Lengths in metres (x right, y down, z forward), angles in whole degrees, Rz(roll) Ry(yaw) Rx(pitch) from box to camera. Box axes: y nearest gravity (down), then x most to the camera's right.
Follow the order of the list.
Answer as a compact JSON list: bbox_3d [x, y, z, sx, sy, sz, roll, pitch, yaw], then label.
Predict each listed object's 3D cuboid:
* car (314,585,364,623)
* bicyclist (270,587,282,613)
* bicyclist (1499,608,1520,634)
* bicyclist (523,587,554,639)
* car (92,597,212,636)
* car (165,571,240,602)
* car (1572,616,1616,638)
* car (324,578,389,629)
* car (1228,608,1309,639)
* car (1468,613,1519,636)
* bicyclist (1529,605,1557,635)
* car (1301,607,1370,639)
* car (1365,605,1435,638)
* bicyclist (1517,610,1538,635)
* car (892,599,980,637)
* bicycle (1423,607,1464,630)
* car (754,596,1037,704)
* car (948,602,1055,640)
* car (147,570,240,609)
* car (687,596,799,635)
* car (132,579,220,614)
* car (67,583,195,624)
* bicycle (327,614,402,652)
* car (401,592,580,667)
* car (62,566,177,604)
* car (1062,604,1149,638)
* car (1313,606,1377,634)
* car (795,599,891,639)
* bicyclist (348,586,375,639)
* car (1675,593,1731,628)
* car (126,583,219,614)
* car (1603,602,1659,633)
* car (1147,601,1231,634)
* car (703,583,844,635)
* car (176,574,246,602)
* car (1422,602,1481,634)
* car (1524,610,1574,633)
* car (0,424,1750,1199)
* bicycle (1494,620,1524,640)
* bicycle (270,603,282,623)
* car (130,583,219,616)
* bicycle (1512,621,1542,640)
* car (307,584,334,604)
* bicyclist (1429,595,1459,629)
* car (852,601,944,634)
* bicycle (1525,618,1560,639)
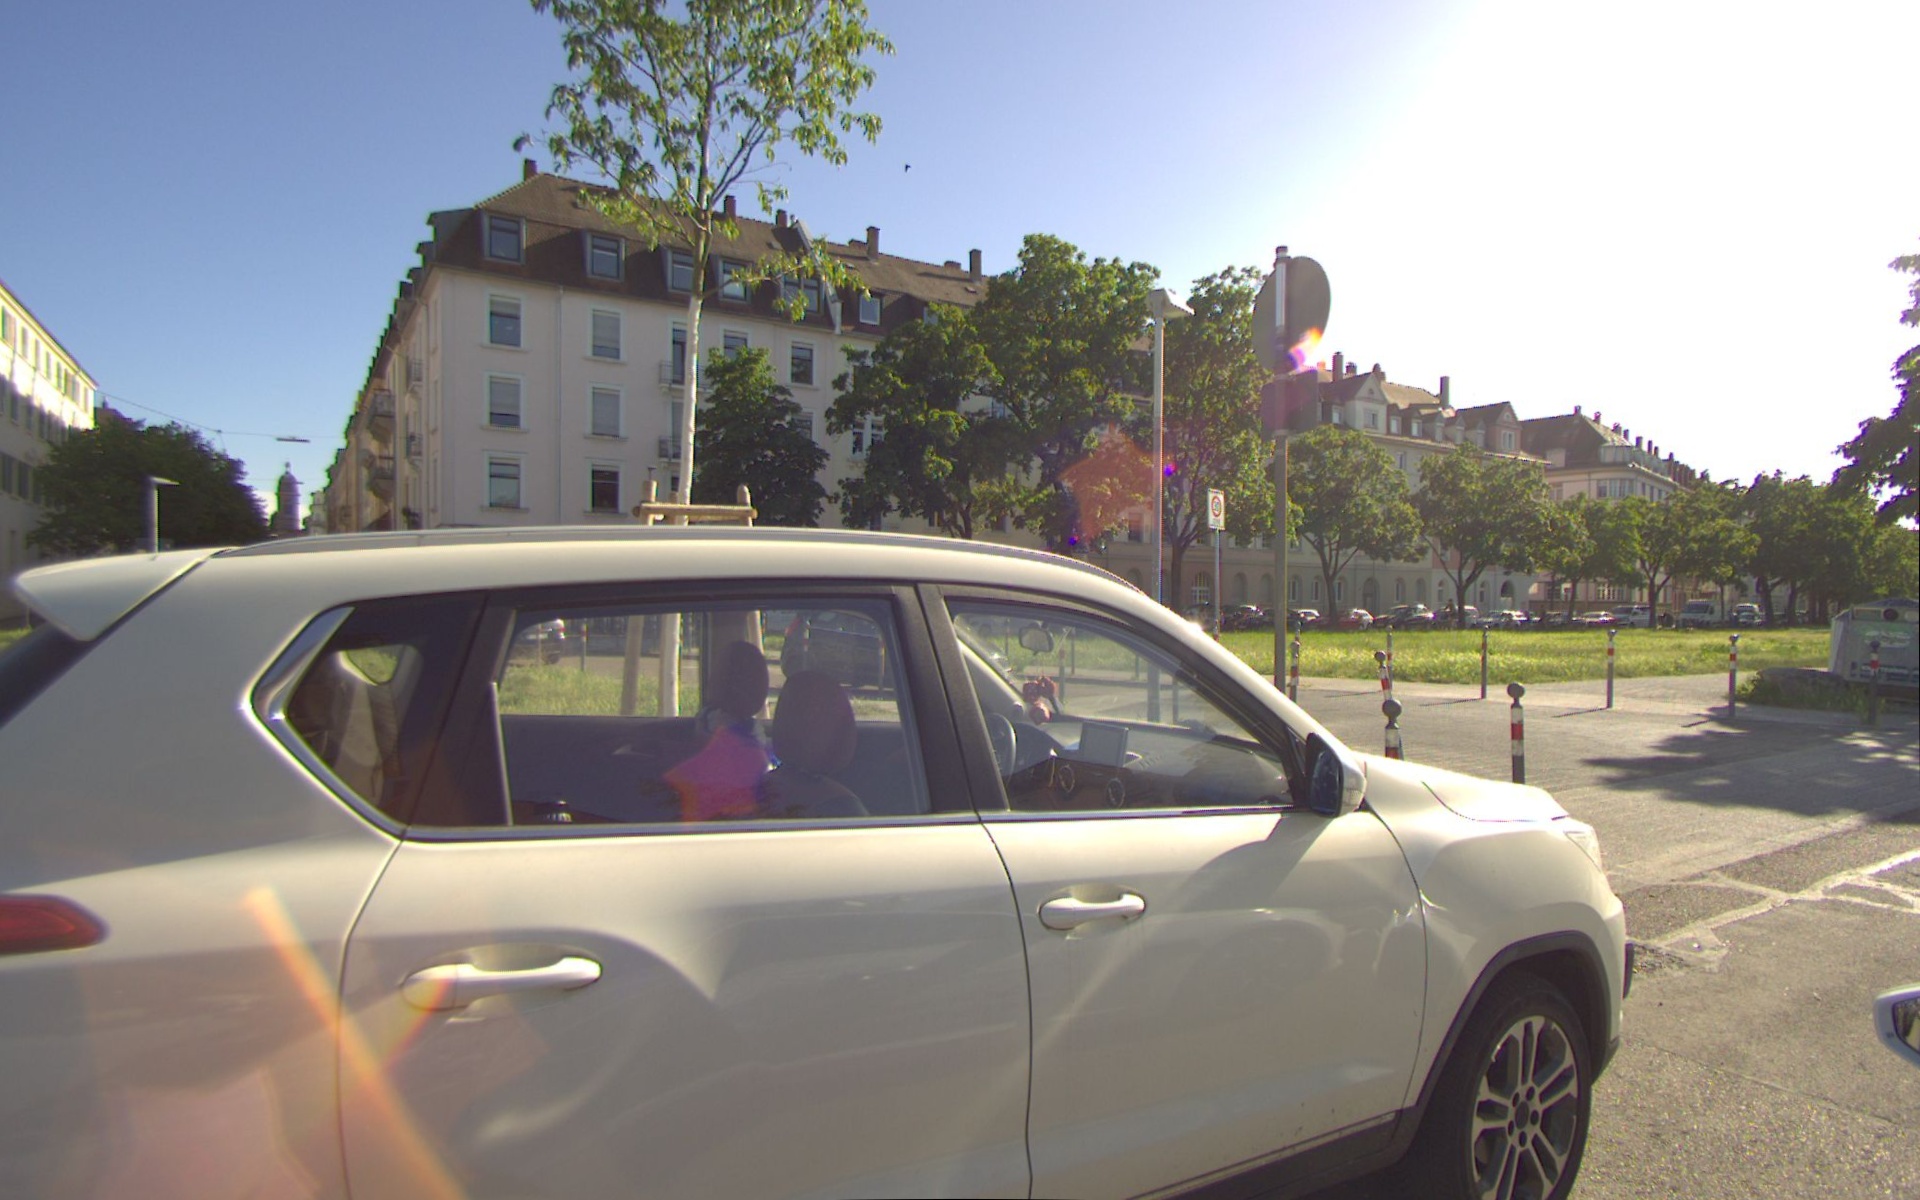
[{"bbox_3d":[-33.993,0.189,54.914,1.981,2.000,5.002,0,1,-36],"label":"car"},{"bbox_3d":[-36.738,-0.017,53.933,0.528,1.382,0.778,0,1,-34],"label":"bicyclist"},{"bbox_3d":[32.563,1.245,59.511,0.932,1.457,0.734,-1,3,-32],"label":"bicyclist"},{"bbox_3d":[-14.008,0.430,33.376,0.619,1.713,0.879,0,0,2],"label":"bicyclist"},{"bbox_3d":[-32.938,0.667,41.088,3.627,1.541,1.698,1,0,-33],"label":"car"},{"bbox_3d":[-62.964,-1.108,83.644,4.907,2.427,1.937,1,0,-36],"label":"car"},{"bbox_3d":[45.248,1.920,71.637,3.198,1.459,1.508,1,0,-34],"label":"car"},{"bbox_3d":[-25.352,0.121,42.115,2.118,2.040,4.533,0,0,-34],"label":"car"},{"bbox_3d":[16.550,1.222,53.868,4.481,1.570,1.745,1,0,-34],"label":"car"},{"bbox_3d":[34.625,1.577,65.196,3.302,1.459,1.373,1,0,-31],"label":"car"},{"bbox_3d":[36.180,1.233,62.322,1.434,1.862,0.936,1,-1,-33],"label":"bicyclist"},{"bbox_3d":[21.221,1.278,56.752,4.038,1.709,1.621,1,0,-34],"label":"car"},{"bbox_3d":[26.270,1.265,59.957,4.414,1.933,1.725,1,0,-34],"label":"car"},{"bbox_3d":[33.077,1.323,58.530,0.932,1.456,0.734,1,-1,-32],"label":"bicyclist"},{"bbox_3d":[-1.170,0.867,49.446,3.956,1.781,1.852,1,0,-33],"label":"car"},{"bbox_3d":[27.353,1.069,56.757,2.605,1.269,0.806,1,0,-32],"label":"bicycle"},{"bbox_3d":[-1.086,0.692,16.046,4.276,1.428,1.914,1,2,35],"label":"car"},{"bbox_3d":[1.867,0.917,44.540,4.649,1.582,1.683,1,0,-34],"label":"car"},{"bbox_3d":[-51.416,-0.674,67.504,4.907,2.553,1.937,1,0,-36],"label":"car"},{"bbox_3d":[-9.489,0.657,44.027,4.408,1.608,1.980,1,0,-35],"label":"car"},{"bbox_3d":[-42.592,-0.167,54.667,3.676,1.859,1.937,1,0,-36],"label":"car"},{"bbox_3d":[-36.737,0.157,44.657,4.198,1.724,1.690,1,0,-34],"label":"car"},{"bbox_3d":[-20.680,1.128,34.915,2.233,1.279,0.837,1,1,-32],"label":"bicycle"},{"bbox_3d":[-10.957,0.629,23.368,4.276,1.597,1.923,0,0,35],"label":"car"},{"bbox_3d":[-35.641,-0.619,42.708,3.580,1.541,1.691,1,0,-36],"label":"car"},{"bbox_3d":[6.925,0.970,47.766,4.038,1.547,1.683,1,0,-34],"label":"car"},{"bbox_3d":[25.373,1.300,66.156,3.982,1.775,1.930,1,0,-33],"label":"car"},{"bbox_3d":[-5.449,0.871,46.823,4.007,1.775,1.984,1,0,-31],"label":"car"},{"bbox_3d":[-20.758,0.424,34.852,0.792,1.827,0.669,0,1,-32],"label":"bicyclist"},{"bbox_3d":[60.318,0.830,81.550,5.566,2.780,1.904,1,0,-34],"label":"car"},{"bbox_3d":[-39.572,-0.067,50.598,3.580,1.541,1.842,1,0,-36],"label":"car"},{"bbox_3d":[50.002,1.286,74.802,4.956,2.243,1.683,1,0,-34],"label":"car"},{"bbox_3d":[11.502,0.859,50.409,4.309,1.570,1.621,1,0,-34],"label":"car"},{"bbox_3d":[-7.248,0.334,39.212,5.045,1.897,2.069,1,0,-34],"label":"car"},{"bbox_3d":[-67.073,-1.070,90.029,4.907,2.427,1.937,1,0,-36],"label":"car"},{"bbox_3d":[35.419,1.282,72.331,4.416,2.289,1.765,1,0,-33],"label":"car"},{"bbox_3d":[46.614,1.665,79.449,3.956,1.772,1.849,1,0,-33],"label":"car"},{"bbox_3d":[-0.031,0.694,2.522,4.237,1.669,1.748,1,-1,-30],"label":"car"},{"bbox_3d":[32.584,1.770,59.580,1.935,1.093,0.728,0,1,-33],"label":"bicycle"},{"bbox_3d":[-36.841,0.696,54.096,0.524,1.030,1.473,0,1,-34],"label":"bicycle"},{"bbox_3d":[-41.182,-0.031,52.758,3.580,1.662,1.814,1,0,-36],"label":"car"},{"bbox_3d":[33.066,1.764,58.577,1.935,1.093,0.728,0,1,-33],"label":"bicycle"},{"bbox_3d":[-56.962,-0.568,89.493,1.934,1.731,4.128,0,0,-31],"label":"car"},{"bbox_3d":[27.360,0.689,56.764,1.434,1.862,0.936,1,-1,-34],"label":"bicyclist"},{"bbox_3d":[-2.564,0.701,41.729,3.489,1.296,1.683,1,0,-34],"label":"car"},{"bbox_3d":[36.156,1.764,62.349,2.606,1.269,0.805,0,1,-33],"label":"bicycle"}]
